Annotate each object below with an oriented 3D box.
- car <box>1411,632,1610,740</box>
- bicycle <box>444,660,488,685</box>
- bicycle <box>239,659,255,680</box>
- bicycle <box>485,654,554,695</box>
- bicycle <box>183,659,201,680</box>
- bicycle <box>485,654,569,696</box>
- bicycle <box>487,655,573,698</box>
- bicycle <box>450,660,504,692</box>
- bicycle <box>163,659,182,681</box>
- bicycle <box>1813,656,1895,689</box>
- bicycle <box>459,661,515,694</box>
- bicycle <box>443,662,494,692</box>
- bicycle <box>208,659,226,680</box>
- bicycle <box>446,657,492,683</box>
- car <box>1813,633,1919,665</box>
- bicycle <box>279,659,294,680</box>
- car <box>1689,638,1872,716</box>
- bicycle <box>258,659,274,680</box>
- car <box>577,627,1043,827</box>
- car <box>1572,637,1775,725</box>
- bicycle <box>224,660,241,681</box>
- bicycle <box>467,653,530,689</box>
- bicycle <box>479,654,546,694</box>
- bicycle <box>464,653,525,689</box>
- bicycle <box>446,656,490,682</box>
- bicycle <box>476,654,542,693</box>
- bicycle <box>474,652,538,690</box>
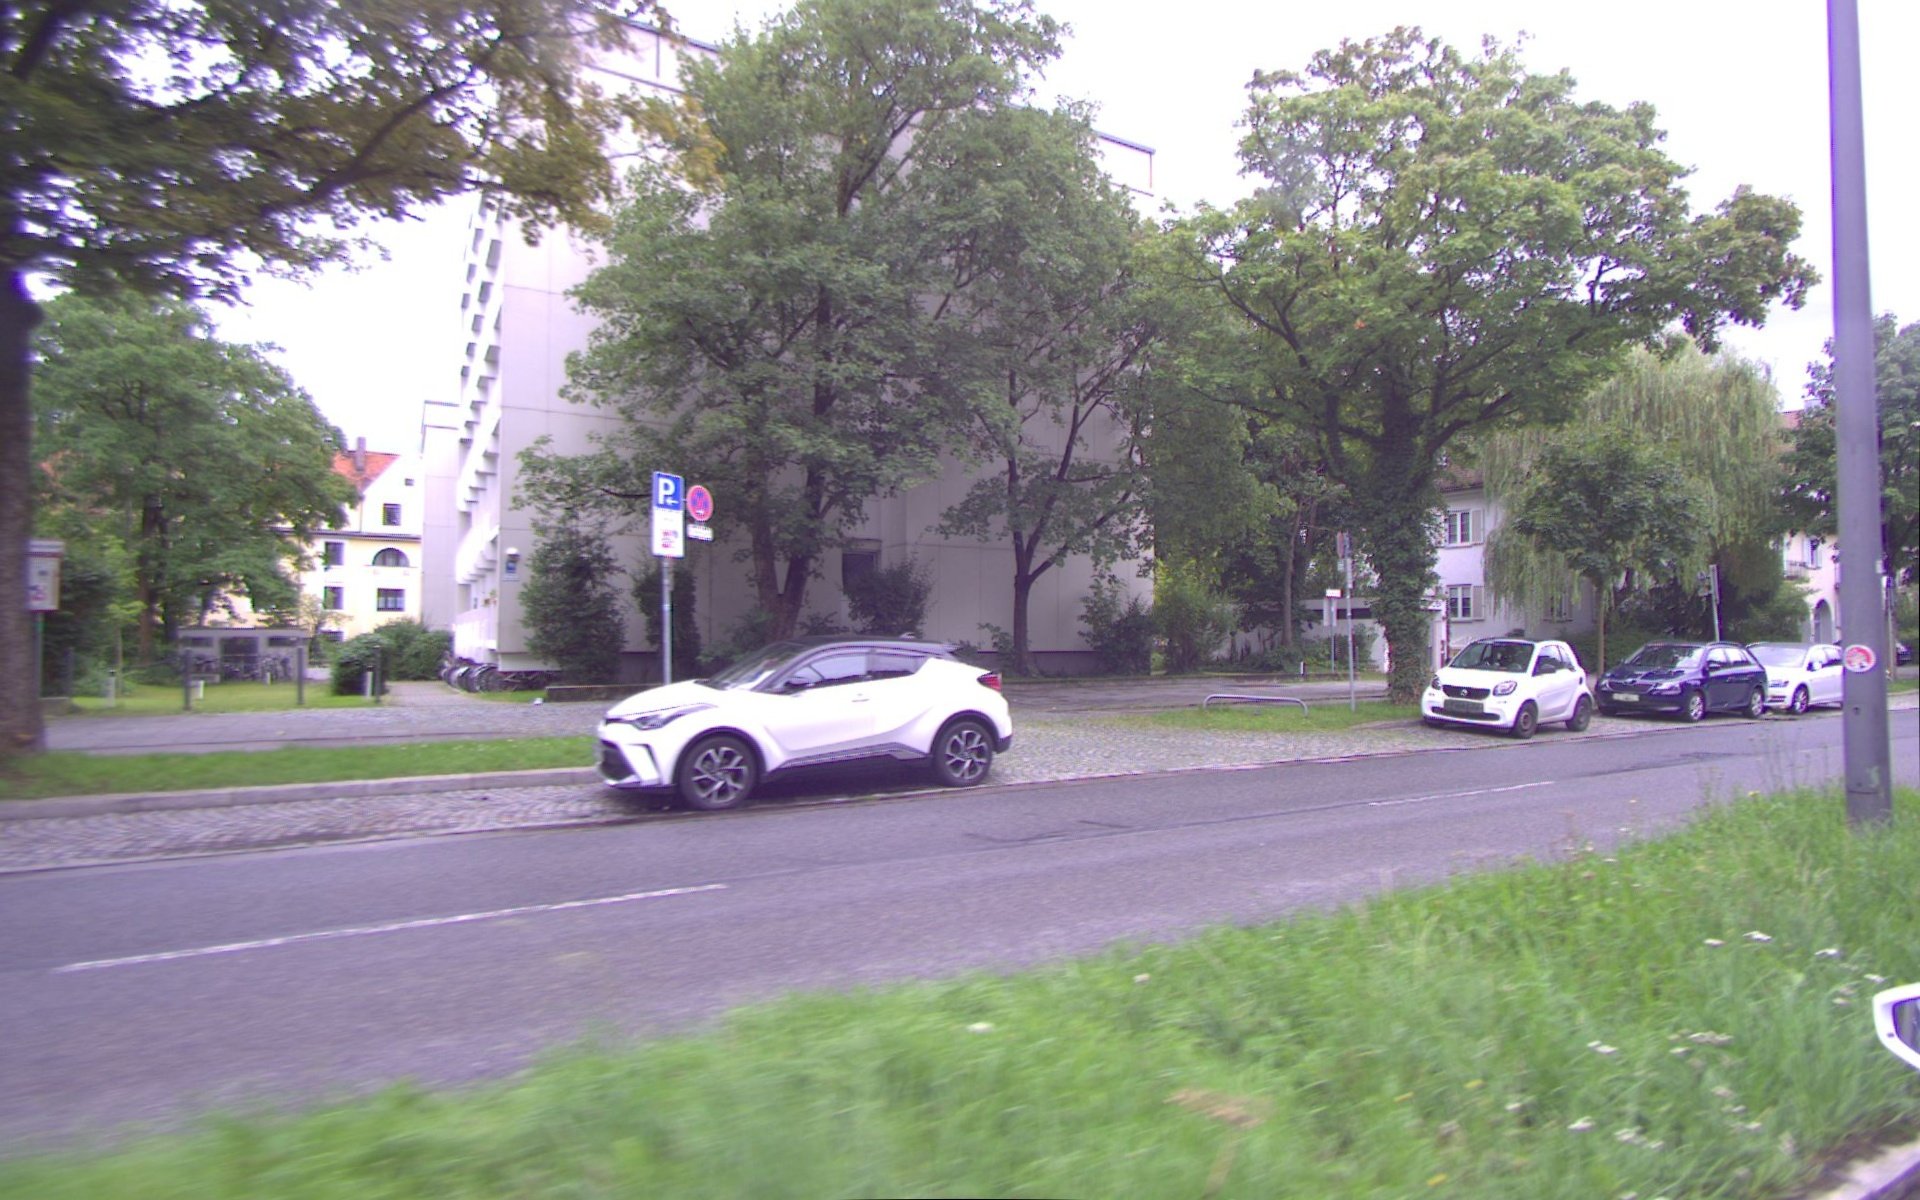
[{"bbox_3d":[9.371,1.384,17.081,3.045,1.586,1.681,1,1,-32],"label":"car"},{"bbox_3d":[-18.291,2.681,37.231,1.433,0.912,0.412,1,-2,-30],"label":"bicycle"},{"bbox_3d":[-31.865,3.105,44.878,0.410,0.893,1.439,1,-2,-29],"label":"bicycle"},{"bbox_3d":[-10.436,1.753,23.811,1.433,0.912,0.456,1,-2,-30],"label":"bicycle"},{"bbox_3d":[-33.719,3.051,44.121,0.410,0.893,1.439,1,-2,-29],"label":"bicycle"},{"bbox_3d":[-10.045,1.725,23.335,1.745,0.912,0.475,1,-2,-30],"label":"bicycle"},{"bbox_3d":[-9.799,1.730,22.911,1.745,0.912,0.475,1,-2,-30],"label":"bicycle"},{"bbox_3d":[-14.557,2.277,30.289,1.433,0.912,0.456,1,-2,-30],"label":"bicycle"},{"bbox_3d":[-34.266,3.030,43.726,0.410,0.893,1.439,1,-2,-29],"label":"bicycle"},{"bbox_3d":[26.176,2.110,29.425,1.387,0.840,1.445,1,0,-30],"label":"bicycle"},{"bbox_3d":[-13.843,2.251,29.409,1.433,0.912,0.456,1,-2,-30],"label":"bicycle"},{"bbox_3d":[-15.728,2.470,32.142,1.433,0.912,0.456,1,-2,-30],"label":"bicycle"},{"bbox_3d":[-32.909,3.070,44.498,0.410,0.893,1.439,1,-2,-29],"label":"bicycle"},{"bbox_3d":[-17.656,2.520,36.121,1.433,0.912,0.456,1,-2,-30],"label":"bicycle"},{"bbox_3d":[44.161,2.377,48.980,1.653,1.481,3.614,1,-2,-32],"label":"car"},{"bbox_3d":[-30.629,3.145,45.694,0.410,0.893,1.439,1,-2,-29],"label":"bicycle"},{"bbox_3d":[18.089,1.626,22.111,4.268,1.462,1.667,1,1,-30],"label":"car"},{"bbox_3d":[-31.278,3.124,45.283,0.410,0.893,1.439,1,-2,-29],"label":"bicycle"},{"bbox_3d":[-1.488,1.142,10.445,4.437,1.631,1.824,1,0,-30],"label":"car"},{"bbox_3d":[14.123,1.524,19.836,4.165,1.495,1.666,1,1,-30],"label":"car"},{"bbox_3d":[-32.391,3.121,44.737,0.410,0.893,1.439,1,-2,-29],"label":"bicycle"},{"bbox_3d":[-11.935,1.825,25.970,1.433,0.912,0.456,1,-2,-30],"label":"bicycle"},{"bbox_3d":[-10.774,1.764,24.182,1.433,0.912,0.456,1,-2,-30],"label":"bicycle"},{"bbox_3d":[-12.319,1.872,26.604,1.433,0.912,0.456,1,-2,-30],"label":"bicycle"},{"bbox_3d":[-18.474,2.587,37.706,1.433,0.912,0.412,1,-2,-30],"label":"bicycle"},{"bbox_3d":[-11.043,1.797,24.625,1.433,0.912,0.456,1,-2,-30],"label":"bicycle"},{"bbox_3d":[-11.486,1.794,25.447,1.433,0.912,0.456,1,-2,-30],"label":"bicycle"}]
